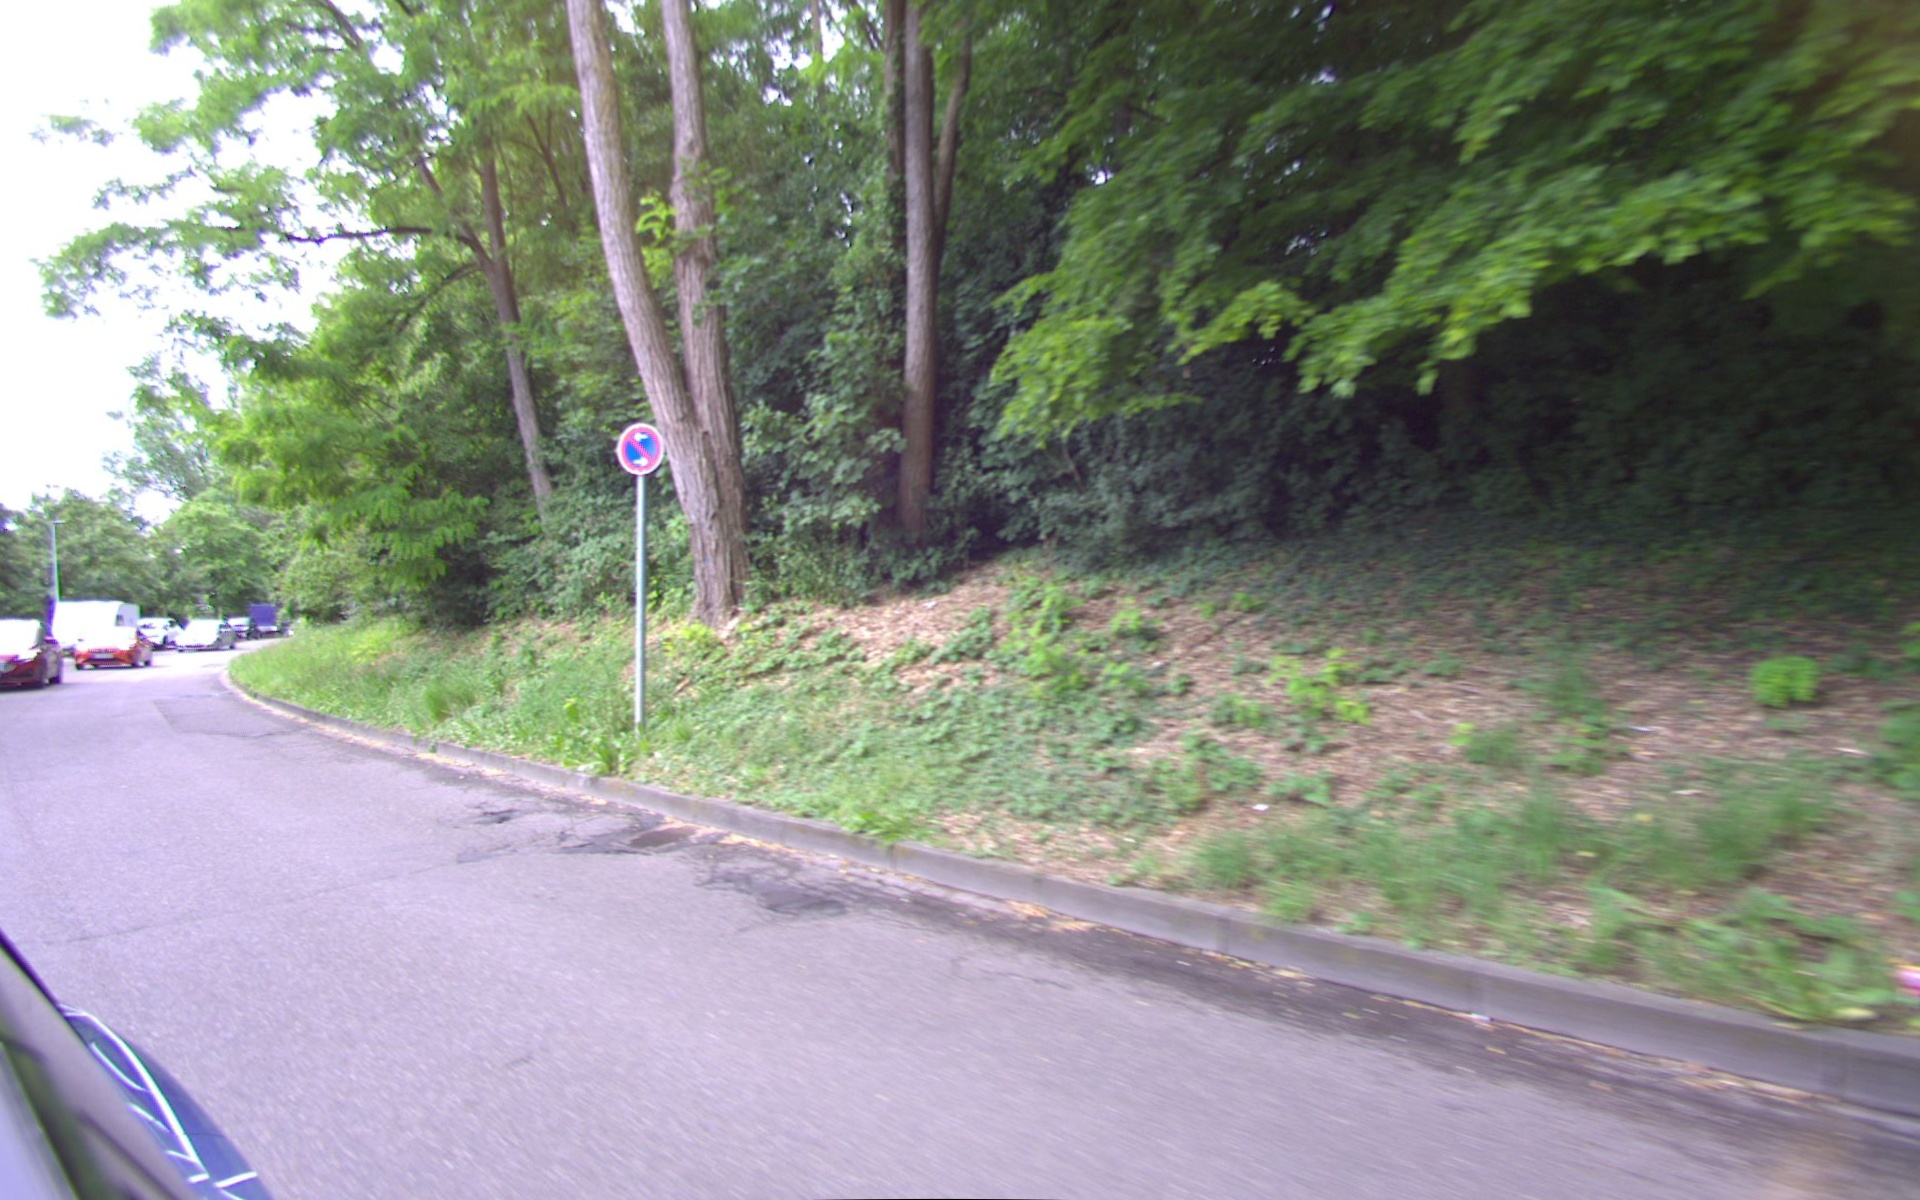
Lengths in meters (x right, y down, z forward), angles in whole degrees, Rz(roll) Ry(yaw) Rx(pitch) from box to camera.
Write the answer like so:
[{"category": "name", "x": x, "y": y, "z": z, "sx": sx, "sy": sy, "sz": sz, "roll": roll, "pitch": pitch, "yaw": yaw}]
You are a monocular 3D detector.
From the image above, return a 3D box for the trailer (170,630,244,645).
[{"category": "trailer", "x": -46.445, "y": 2.299, "z": 62.576, "sx": 2.074, "sy": 0.656, "sz": 6.422, "roll": -2, "pitch": 1, "yaw": -22}]

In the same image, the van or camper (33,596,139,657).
[{"category": "van or camper", "x": -39.741, "y": 1.136, "z": 46.222, "sx": 2.131, "sy": 2.555, "sz": 6.051, "roll": -2, "pitch": 0, "yaw": -26}]

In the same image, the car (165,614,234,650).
[{"category": "car", "x": -39.368, "y": 1.612, "z": 52.505, "sx": 1.891, "sy": 1.694, "sz": 4.013, "roll": 0, "pitch": 1, "yaw": -22}]

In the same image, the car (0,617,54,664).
[{"category": "car", "x": -35.011, "y": 1.454, "z": 37.109, "sx": 1.823, "sy": 1.655, "sz": 4.544, "roll": 0, "pitch": -1, "yaw": -31}]

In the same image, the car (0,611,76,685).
[{"category": "car", "x": -22.981, "y": 1.110, "z": 24.310, "sx": 1.966, "sy": 1.640, "sz": 4.639, "roll": -2, "pitch": 1, "yaw": -33}]

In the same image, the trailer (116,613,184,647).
[{"category": "trailer", "x": -43.606, "y": 1.591, "z": 54.583, "sx": 1.747, "sy": 1.744, "sz": 4.665, "roll": -1, "pitch": 0, "yaw": -24}]

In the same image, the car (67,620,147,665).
[{"category": "car", "x": -30.093, "y": 1.444, "z": 35.810, "sx": 1.837, "sy": 1.460, "sz": 4.186, "roll": -1, "pitch": -1, "yaw": -36}]

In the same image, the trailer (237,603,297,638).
[{"category": "trailer", "x": -49.817, "y": 1.521, "z": 72.883, "sx": 2.078, "sy": 2.380, "sz": 4.714, "roll": 1, "pitch": -2, "yaw": -15}]

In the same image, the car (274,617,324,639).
[{"category": "car", "x": -45.791, "y": 1.913, "z": 70.160, "sx": 1.775, "sy": 1.501, "sz": 4.011, "roll": 0, "pitch": -1, "yaw": -16}]
